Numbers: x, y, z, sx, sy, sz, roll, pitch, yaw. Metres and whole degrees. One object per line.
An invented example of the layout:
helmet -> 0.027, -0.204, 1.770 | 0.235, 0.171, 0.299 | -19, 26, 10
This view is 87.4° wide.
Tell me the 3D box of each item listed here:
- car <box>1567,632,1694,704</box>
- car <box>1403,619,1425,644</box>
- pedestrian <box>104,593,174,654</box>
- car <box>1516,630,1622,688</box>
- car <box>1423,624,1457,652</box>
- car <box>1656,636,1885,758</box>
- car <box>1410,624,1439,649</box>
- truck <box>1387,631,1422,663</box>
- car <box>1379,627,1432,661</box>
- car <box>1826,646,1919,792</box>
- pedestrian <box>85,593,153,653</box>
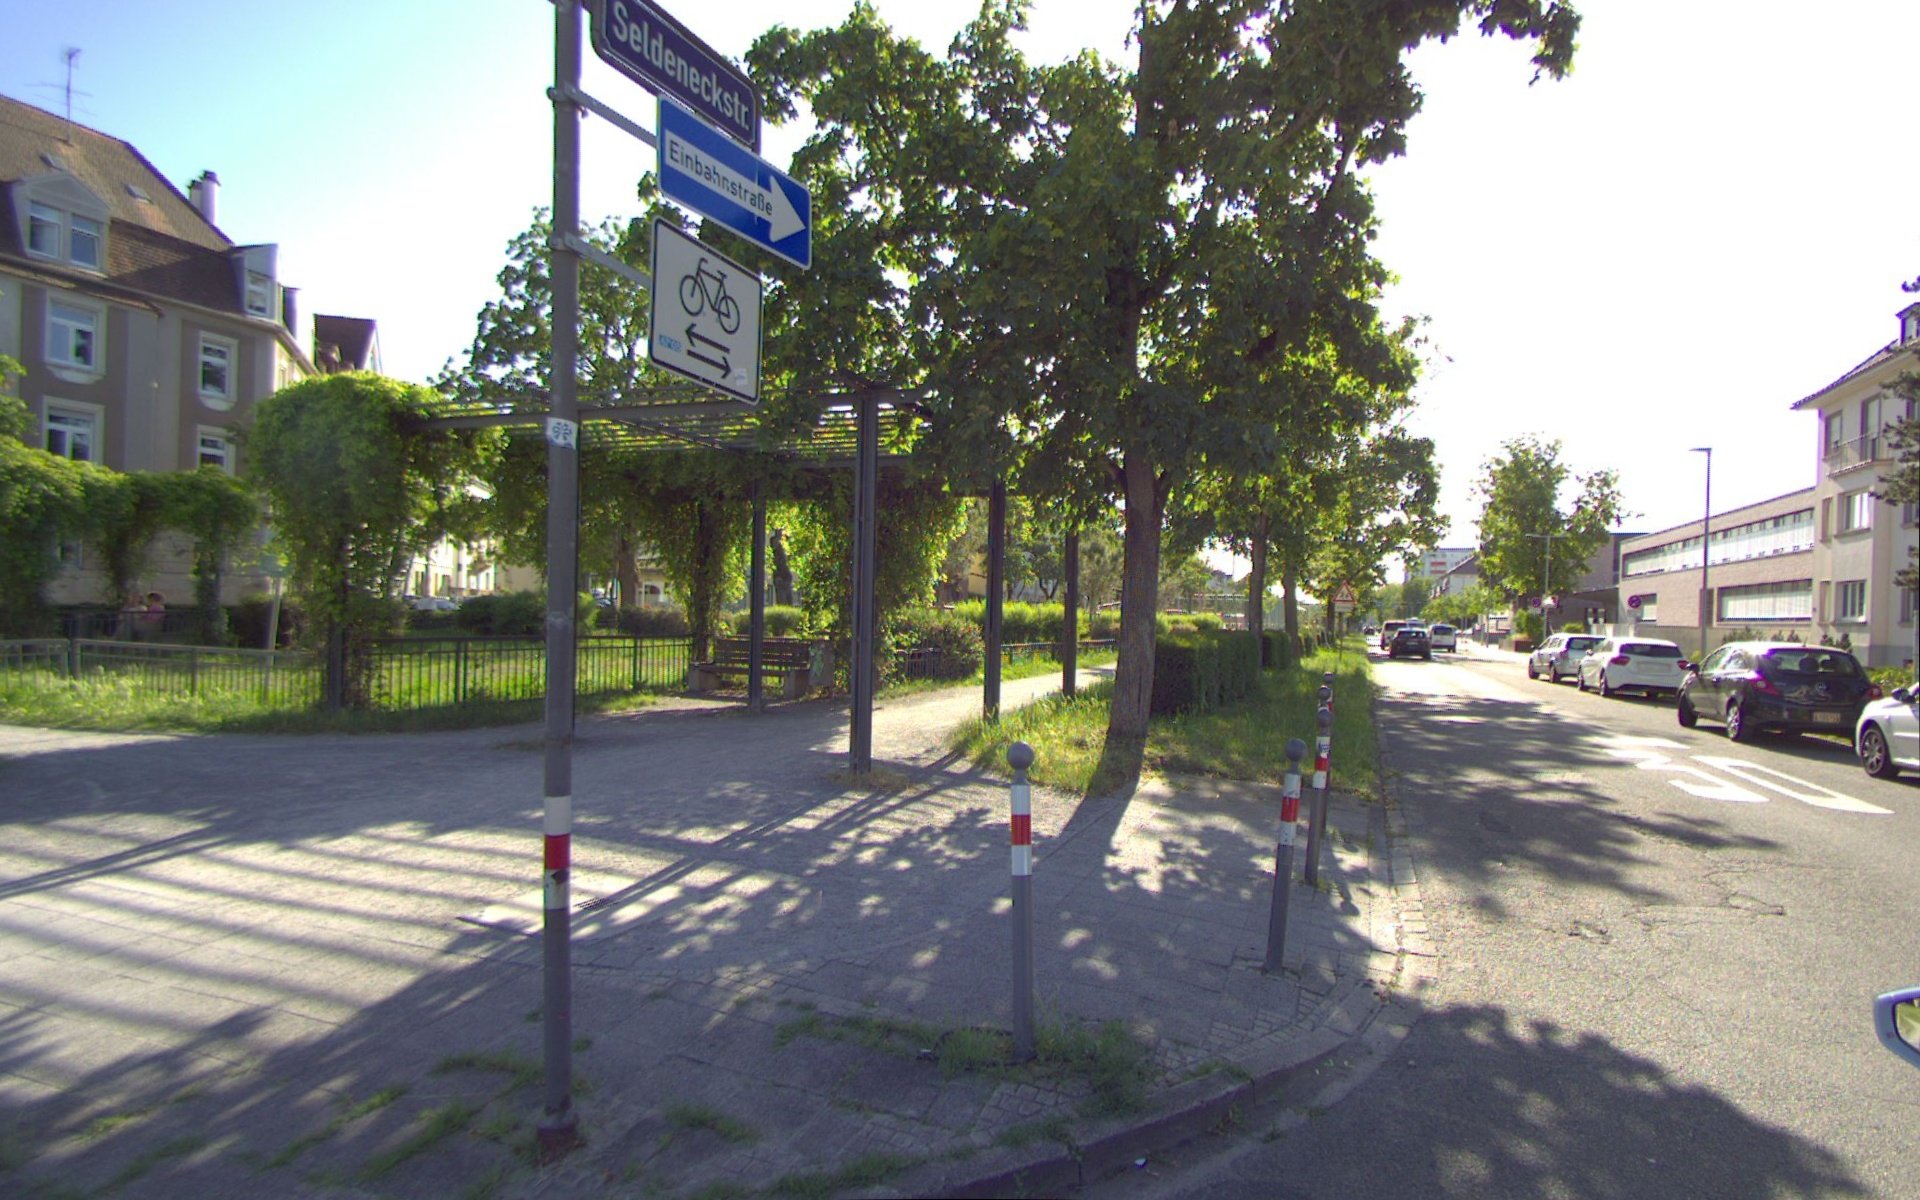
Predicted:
car -> 16.459, 1.594, 24.865 | 1.766, 1.514, 3.999 | 3, 0, 22
car -> 46.617, 3.228, 103.252 | 1.788, 2.551, 3.999 | 2, -1, 22
pedestrian -> -16.261, 0.464, 19.903 | 0.587, 1.154, 0.875 | 1, -1, 23
car -> 18.475, 1.740, 30.661 | 1.765, 1.514, 4.001 | 3, 0, 17
car -> 33.076, 2.588, 69.255 | 1.788, 1.855, 3.999 | 2, -1, 22
car -> 12.343, 1.376, 15.590 | 1.644, 1.514, 3.825 | 3, 0, 22
car -> 36.442, 2.868, 78.912 | 1.788, 1.855, 3.999 | 2, -1, 22
truck -> 30.785, 3.189, 69.734 | 1.961, 2.063, 4.874 | 1, -1, 21
car -> 21.885, 2.113, 49.522 | 1.960, 1.545, 4.756 | 1, -1, 19
car -> 10.466, 1.248, 9.916 | 1.673, 1.417, 3.776 | 3, 0, 21
pedestrian -> -16.872, 0.451, 20.173 | 0.587, 1.165, 0.846 | 1, -1, 23
